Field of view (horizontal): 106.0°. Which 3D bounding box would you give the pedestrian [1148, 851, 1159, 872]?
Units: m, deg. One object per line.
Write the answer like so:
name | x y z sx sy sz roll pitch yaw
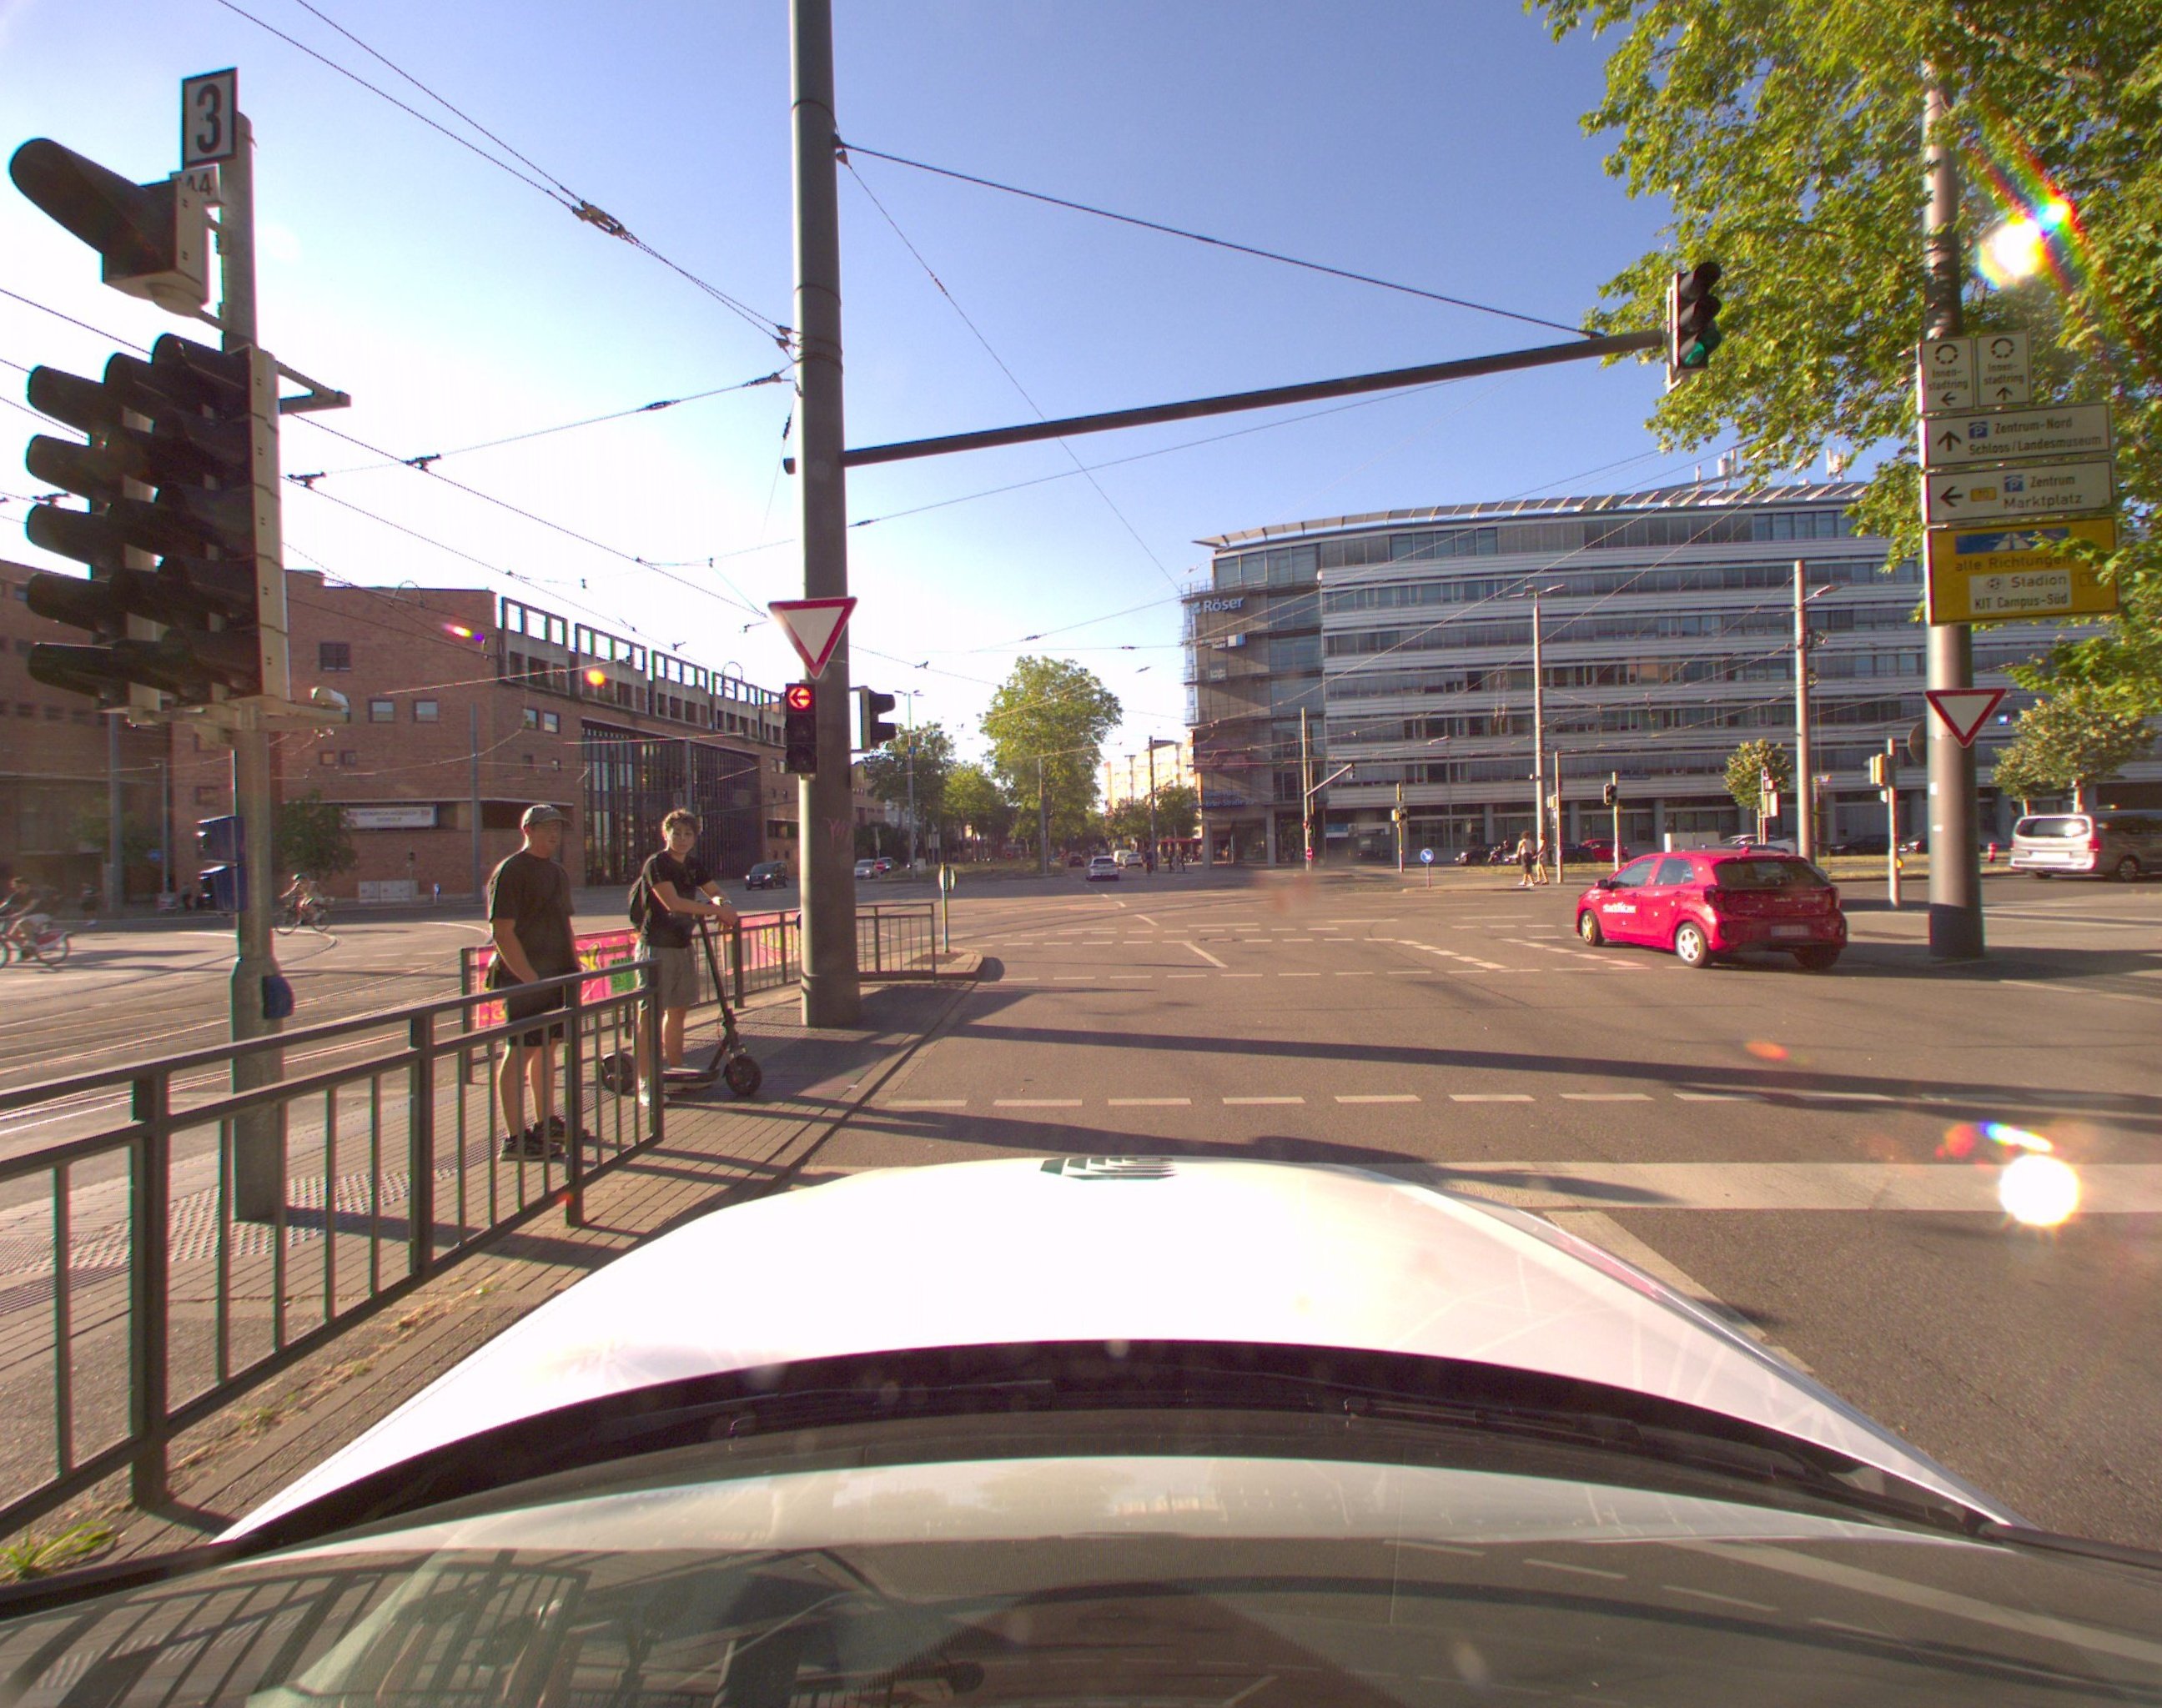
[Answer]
pedestrian | 5.959 0.580 66.907 0.866 1.707 0.794 0 -1 1

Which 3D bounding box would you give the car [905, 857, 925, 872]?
car | -18.754 1.200 92.292 1.673 1.607 3.994 0 -1 -4

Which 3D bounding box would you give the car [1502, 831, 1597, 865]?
car | 26.503 -0.322 46.175 4.234 1.723 1.886 -2 0 4

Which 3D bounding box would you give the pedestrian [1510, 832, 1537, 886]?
pedestrian | 14.615 0.165 26.904 0.732 1.759 0.684 -2 0 28

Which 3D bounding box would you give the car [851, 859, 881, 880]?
car | -17.902 1.250 67.846 1.618 1.577 3.994 -2 0 -4

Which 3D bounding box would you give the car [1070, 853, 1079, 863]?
car | -1.626 1.031 209.938 1.985 2.015 4.000 0 -8 3

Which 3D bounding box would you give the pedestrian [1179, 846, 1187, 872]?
pedestrian | 7.861 0.389 62.805 0.584 2.014 0.620 0 -1 2

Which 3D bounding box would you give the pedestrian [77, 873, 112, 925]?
pedestrian | -39.044 1.767 32.232 0.615 2.013 0.726 -2 0 -28

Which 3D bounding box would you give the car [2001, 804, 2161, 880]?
car | 28.172 -0.349 22.004 4.862 1.896 2.003 -1 0 -7

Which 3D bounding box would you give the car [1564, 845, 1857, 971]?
car | 8.451 0.637 11.356 1.483 1.459 3.601 -1 0 4

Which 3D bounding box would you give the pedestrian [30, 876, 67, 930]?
pedestrian | -39.931 1.869 31.507 0.615 2.013 0.726 -2 0 -28

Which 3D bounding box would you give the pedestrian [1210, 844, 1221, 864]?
pedestrian | 15.388 0.011 93.221 1.305 2.190 1.173 -1 -1 8

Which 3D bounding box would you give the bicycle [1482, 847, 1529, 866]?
bicycle | 25.559 0.136 49.046 2.397 1.022 0.638 -2 0 6

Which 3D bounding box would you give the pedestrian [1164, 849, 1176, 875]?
pedestrian | 6.963 0.589 63.746 0.846 2.014 0.708 0 -1 1

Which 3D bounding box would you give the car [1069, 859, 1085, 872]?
car | -0.499 1.315 96.250 1.759 1.404 4.293 -1 0 -2

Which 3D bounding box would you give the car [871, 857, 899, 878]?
car | -18.114 1.225 75.442 1.819 1.790 3.994 -2 0 -4

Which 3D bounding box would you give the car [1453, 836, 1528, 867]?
car | 27.127 -0.142 54.014 3.972 2.014 2.001 0 -1 2

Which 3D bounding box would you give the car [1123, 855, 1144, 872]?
car | 5.333 0.967 82.811 2.022 1.596 4.001 0 -1 2

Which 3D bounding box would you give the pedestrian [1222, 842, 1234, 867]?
pedestrian | 11.920 0.040 66.017 0.866 2.014 0.794 0 -2 1

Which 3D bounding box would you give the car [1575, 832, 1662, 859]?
car | 32.068 -0.503 48.639 3.966 1.552 1.800 0 -1 6

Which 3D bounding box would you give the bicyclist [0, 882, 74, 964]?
bicyclist | -21.083 1.368 16.384 0.660 1.569 0.757 -2 0 -6

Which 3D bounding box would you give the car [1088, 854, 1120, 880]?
car | 1.414 0.731 48.281 1.740 1.418 4.004 -1 0 4

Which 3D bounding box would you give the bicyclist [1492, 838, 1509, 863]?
bicyclist | 25.268 -0.207 49.071 0.660 1.503 0.614 -2 0 7

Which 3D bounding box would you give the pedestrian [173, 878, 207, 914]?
pedestrian | -53.078 2.478 48.534 1.003 2.052 0.850 -2 0 -1

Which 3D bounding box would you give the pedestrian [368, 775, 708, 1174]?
pedestrian | -2.814 0.588 4.332 1.161 1.884 0.856 -2 0 6

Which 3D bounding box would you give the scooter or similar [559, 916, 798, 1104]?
scooter or similar | -2.594 0.991 5.325 1.196 1.081 0.649 -2 0 5

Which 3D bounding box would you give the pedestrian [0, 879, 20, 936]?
pedestrian | -38.725 1.931 29.146 0.615 2.013 0.726 -2 0 -26

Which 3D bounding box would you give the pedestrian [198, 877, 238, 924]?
pedestrian | -35.623 1.905 33.618 0.721 1.902 0.875 0 -1 -1

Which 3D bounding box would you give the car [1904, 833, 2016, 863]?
car | 49.491 -0.334 45.911 4.097 1.596 1.884 0 -1 5

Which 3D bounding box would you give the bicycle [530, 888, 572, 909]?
bicycle | -23.042 1.932 35.451 0.588 0.771 1.966 -2 0 -2

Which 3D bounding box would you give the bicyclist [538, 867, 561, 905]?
bicyclist | -23.059 1.379 35.350 0.585 1.625 0.514 -2 0 -3

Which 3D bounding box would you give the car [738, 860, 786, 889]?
car | -20.899 1.314 53.563 1.865 1.762 3.992 0 0 -5

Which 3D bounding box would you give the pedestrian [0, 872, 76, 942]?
pedestrian | -31.336 1.567 24.359 1.029 2.014 1.208 0 -1 1

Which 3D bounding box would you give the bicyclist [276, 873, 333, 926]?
bicyclist | -22.450 1.306 23.570 0.652 1.474 1.031 -1 -1 -3

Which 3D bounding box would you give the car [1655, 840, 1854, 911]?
car | 15.439 0.441 18.665 4.215 1.459 1.740 -1 0 -22

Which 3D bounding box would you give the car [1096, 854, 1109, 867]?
car | 3.348 1.027 126.925 1.986 2.014 4.001 0 -1 2

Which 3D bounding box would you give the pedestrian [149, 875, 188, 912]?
pedestrian | -52.709 2.262 47.052 1.155 2.013 0.910 -2 0 -2

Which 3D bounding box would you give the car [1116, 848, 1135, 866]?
car | 4.847 0.343 89.647 1.986 2.014 4.001 0 -1 2

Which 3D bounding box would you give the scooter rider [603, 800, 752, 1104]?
scooter rider | -2.627 0.609 5.353 0.563 1.853 0.681 -2 -2 6

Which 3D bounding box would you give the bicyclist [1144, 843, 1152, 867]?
bicyclist | 4.179 0.054 50.567 0.485 1.439 0.616 0 -1 1

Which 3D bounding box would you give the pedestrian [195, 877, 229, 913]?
pedestrian | -51.740 2.415 48.489 1.003 2.052 0.850 -2 0 -1

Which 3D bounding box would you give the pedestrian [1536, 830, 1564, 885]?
pedestrian | 15.536 0.115 26.989 0.732 1.759 0.690 -2 0 29

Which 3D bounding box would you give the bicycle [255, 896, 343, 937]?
bicycle | -22.441 1.769 23.420 0.650 1.050 2.010 -1 0 -3

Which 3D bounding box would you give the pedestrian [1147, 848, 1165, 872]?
pedestrian | 6.106 0.475 66.156 1.337 1.950 1.011 -2 -1 1

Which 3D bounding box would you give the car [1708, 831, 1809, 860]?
car | 37.607 -0.455 45.281 3.968 1.596 1.884 0 -1 5

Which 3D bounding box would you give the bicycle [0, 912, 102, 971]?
bicycle | -21.065 1.741 16.307 0.692 0.998 1.898 -2 0 -5

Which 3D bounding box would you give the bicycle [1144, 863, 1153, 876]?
bicycle | 4.211 0.970 50.717 0.489 0.788 1.862 -1 0 2
